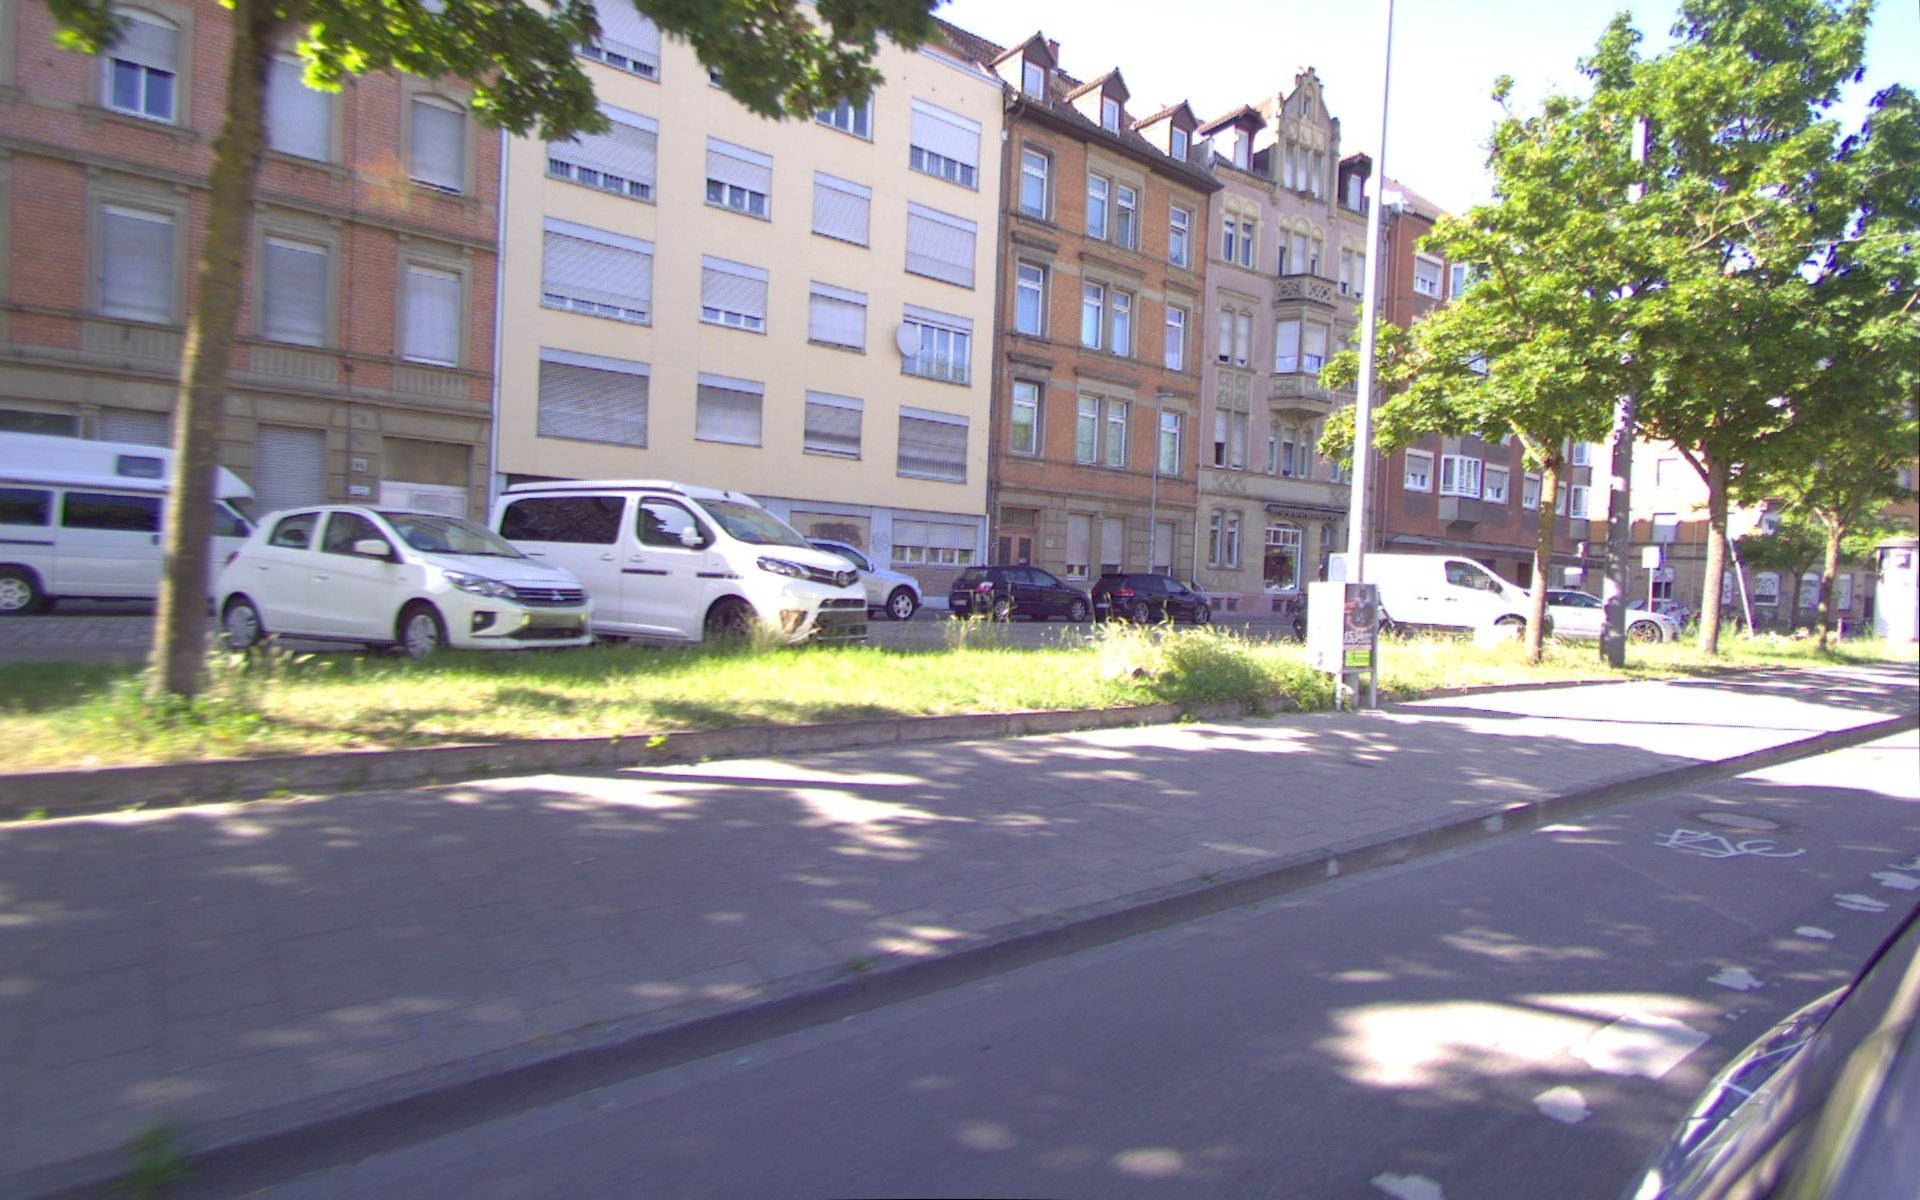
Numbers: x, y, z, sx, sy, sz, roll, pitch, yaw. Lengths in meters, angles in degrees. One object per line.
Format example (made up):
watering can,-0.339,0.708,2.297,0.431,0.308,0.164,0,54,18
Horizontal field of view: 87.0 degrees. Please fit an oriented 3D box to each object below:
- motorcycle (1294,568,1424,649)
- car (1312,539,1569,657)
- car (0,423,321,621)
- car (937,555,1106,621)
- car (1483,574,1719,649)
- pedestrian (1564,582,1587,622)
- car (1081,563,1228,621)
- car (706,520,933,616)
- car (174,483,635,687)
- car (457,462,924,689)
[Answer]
motorcycle,8.125,0.160,20.691,2.222,1.437,0.854,4,2,5
car,10.469,-0.121,22.544,4.821,2.100,2.008,5,3,20
car,-12.452,-1.130,15.422,4.426,2.616,2.002,2,3,-35
car,1.639,-0.299,26.433,4.085,1.437,1.885,2,3,-36
car,16.629,0.243,26.597,4.825,1.452,2.007,6,3,22
pedestrian,27.716,0.098,45.598,0.629,1.782,0.593,2,2,-35
car,5.712,-0.215,29.469,4.212,1.438,1.734,2,3,-36
car,-3.088,-0.688,22.627,4.539,1.821,2.001,2,3,-37
car,-5.420,-0.234,9.906,3.983,1.496,1.801,5,4,21
car,-3.215,-0.415,11.911,5.135,2.036,2.083,6,4,25
